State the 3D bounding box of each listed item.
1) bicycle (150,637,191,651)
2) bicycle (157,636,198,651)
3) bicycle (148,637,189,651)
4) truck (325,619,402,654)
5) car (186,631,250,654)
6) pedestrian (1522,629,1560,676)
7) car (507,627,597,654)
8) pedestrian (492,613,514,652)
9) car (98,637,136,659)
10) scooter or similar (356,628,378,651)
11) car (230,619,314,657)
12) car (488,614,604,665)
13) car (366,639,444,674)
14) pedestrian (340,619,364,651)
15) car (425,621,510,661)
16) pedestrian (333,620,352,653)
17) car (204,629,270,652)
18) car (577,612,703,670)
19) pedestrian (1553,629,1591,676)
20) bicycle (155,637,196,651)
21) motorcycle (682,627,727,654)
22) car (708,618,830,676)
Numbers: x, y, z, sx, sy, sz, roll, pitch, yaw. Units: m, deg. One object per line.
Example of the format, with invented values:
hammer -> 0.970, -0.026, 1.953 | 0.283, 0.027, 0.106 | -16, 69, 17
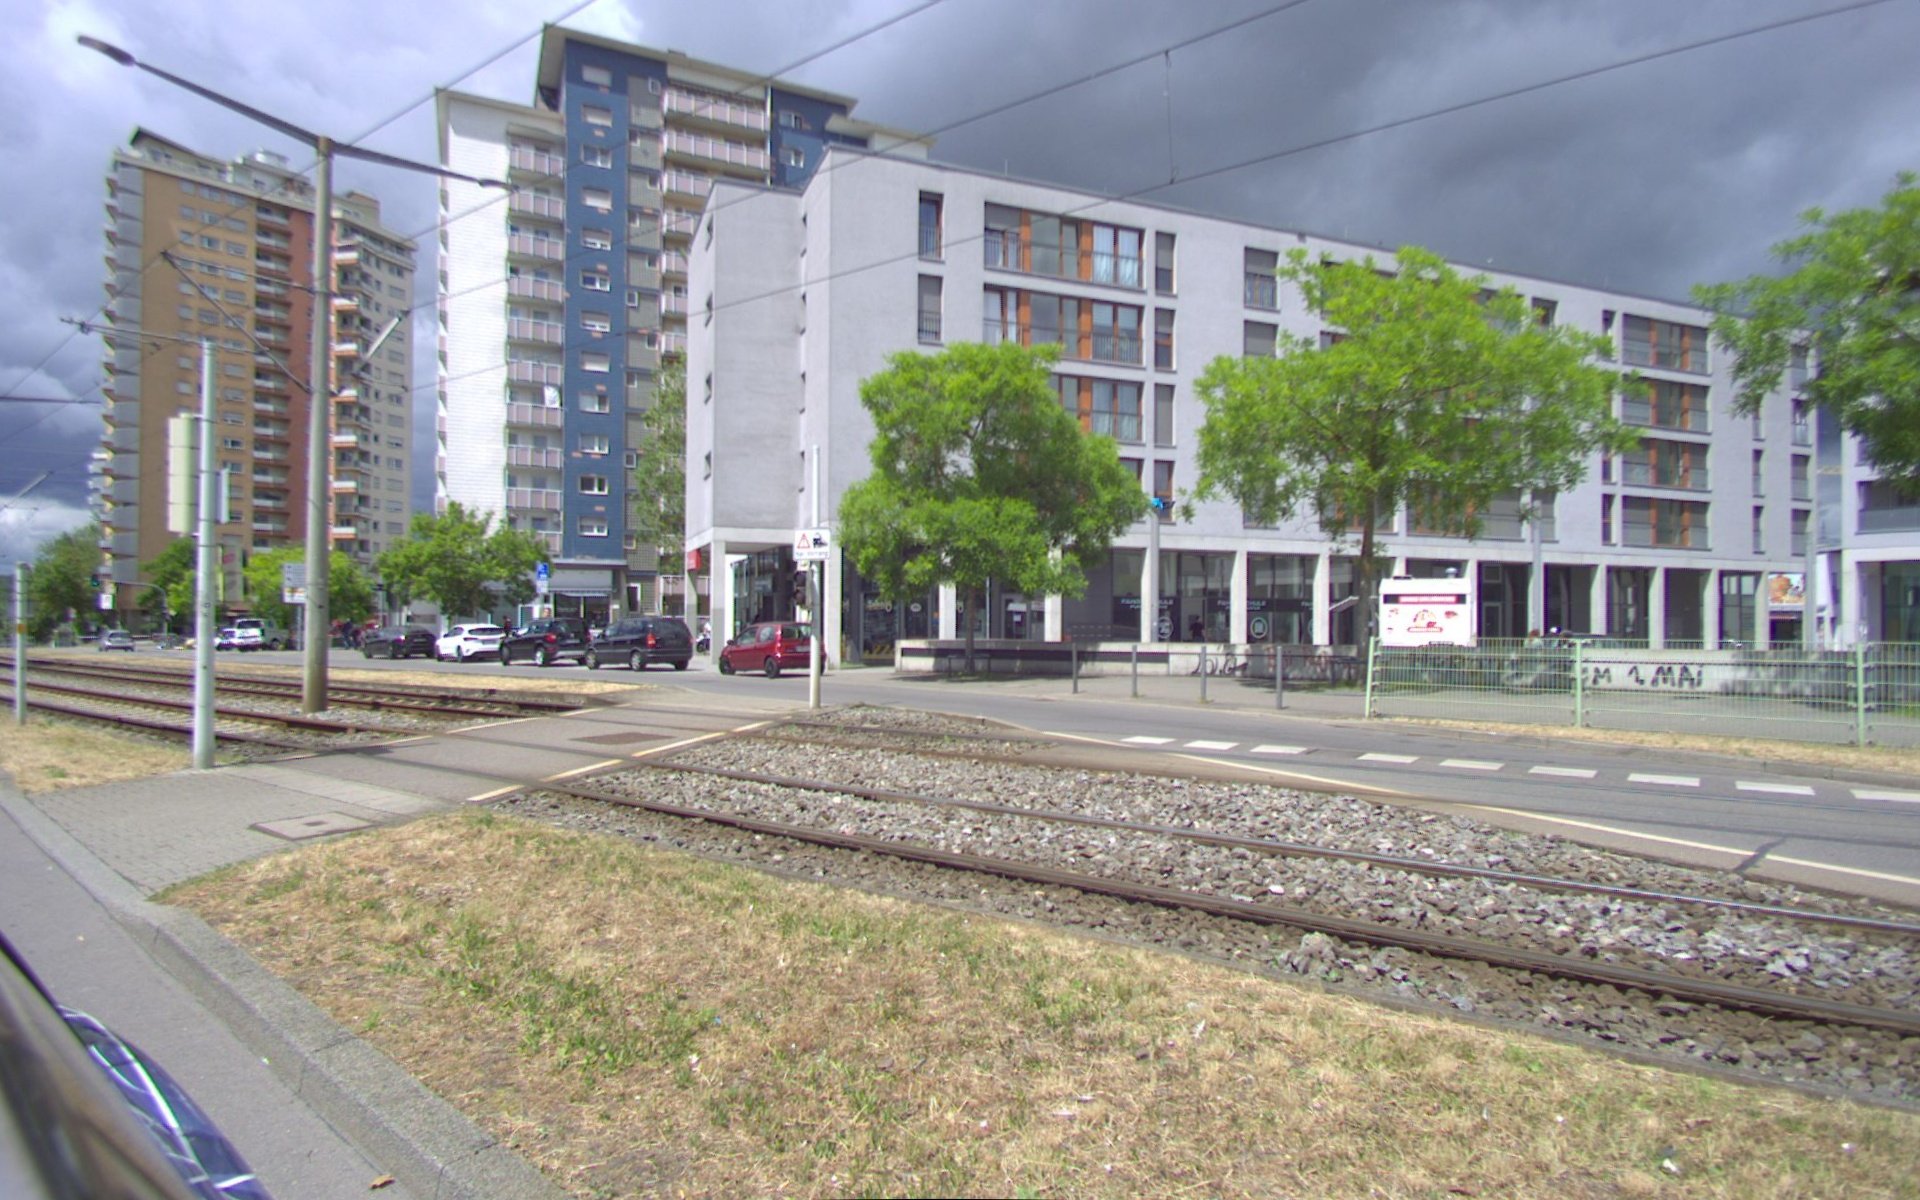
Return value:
bicycle -> -61.300, 3.409, 78.610 | 0.704, 1.074, 2.401 | -3, -4, 41
bicycle -> -59.576, 3.327, 77.082 | 0.704, 1.074, 2.401 | -3, -4, 41
bicycle -> -61.897, 3.437, 79.140 | 0.704, 1.074, 2.401 | -3, -4, 41
truck -> -66.792, 4.126, 113.321 | 6.991, 3.703, 2.549 | 3, -4, -42
car -> -52.781, 3.028, 72.046 | 1.903, 1.604, 4.005 | 0, -3, -6
pedestrian -> 13.848, 1.252, 24.129 | 0.491, 1.104, 0.579 | 1, -2, -24
car -> -22.144, 2.229, 55.119 | 4.283, 1.454, 2.005 | 1, -3, -14
pedestrian -> -21.340, 1.510, 47.226 | 0.843, 1.806, 0.605 | -3, -4, 40
car -> -62.991, 3.586, 75.592 | 3.756, 1.544, 1.797 | -3, -4, 45
scooter or similar -> -30.725, 2.041, 52.439 | 0.760, 1.133, 0.579 | -2, -5, 7
car -> -41.505, 2.324, 61.231 | 1.879, 2.173, 4.762 | 0, -3, -1
car -> -14.449, 1.375, 35.244 | 4.094, 1.675, 1.974 | -3, -2, 38
car -> -24.328, 2.443, 44.281 | 4.380, 1.439, 1.715 | -2, -3, 43
pedestrian -> -31.602, 1.815, 52.614 | 0.974, 1.584, 0.514 | -3, -4, 7
car -> -19.336, 1.620, 39.649 | 1.733, 1.486, 4.403 | 3, -4, -44
pedestrian -> -34.438, 2.038, 56.434 | 0.829, 1.806, 0.876 | 2, -4, -35
car -> -49.350, 2.774, 69.161 | 1.723, 1.508, 3.765 | 0, -3, 1
car -> -9.955, 1.290, 31.382 | 4.100, 1.660, 1.971 | -3, -4, 43
pedestrian -> 14.659, 1.253, 24.252 | 0.491, 1.104, 0.579 | 1, -2, -24
bicycle -> -60.125, 3.353, 77.575 | 0.704, 1.074, 2.401 | -3, -4, 41
motorcycle -> -11.310, 1.798, 44.797 | 0.740, 1.187, 1.874 | -2, -4, 38
car -> -5.116, 1.263, 26.879 | 1.594, 1.437, 3.426 | 3, -4, -43
